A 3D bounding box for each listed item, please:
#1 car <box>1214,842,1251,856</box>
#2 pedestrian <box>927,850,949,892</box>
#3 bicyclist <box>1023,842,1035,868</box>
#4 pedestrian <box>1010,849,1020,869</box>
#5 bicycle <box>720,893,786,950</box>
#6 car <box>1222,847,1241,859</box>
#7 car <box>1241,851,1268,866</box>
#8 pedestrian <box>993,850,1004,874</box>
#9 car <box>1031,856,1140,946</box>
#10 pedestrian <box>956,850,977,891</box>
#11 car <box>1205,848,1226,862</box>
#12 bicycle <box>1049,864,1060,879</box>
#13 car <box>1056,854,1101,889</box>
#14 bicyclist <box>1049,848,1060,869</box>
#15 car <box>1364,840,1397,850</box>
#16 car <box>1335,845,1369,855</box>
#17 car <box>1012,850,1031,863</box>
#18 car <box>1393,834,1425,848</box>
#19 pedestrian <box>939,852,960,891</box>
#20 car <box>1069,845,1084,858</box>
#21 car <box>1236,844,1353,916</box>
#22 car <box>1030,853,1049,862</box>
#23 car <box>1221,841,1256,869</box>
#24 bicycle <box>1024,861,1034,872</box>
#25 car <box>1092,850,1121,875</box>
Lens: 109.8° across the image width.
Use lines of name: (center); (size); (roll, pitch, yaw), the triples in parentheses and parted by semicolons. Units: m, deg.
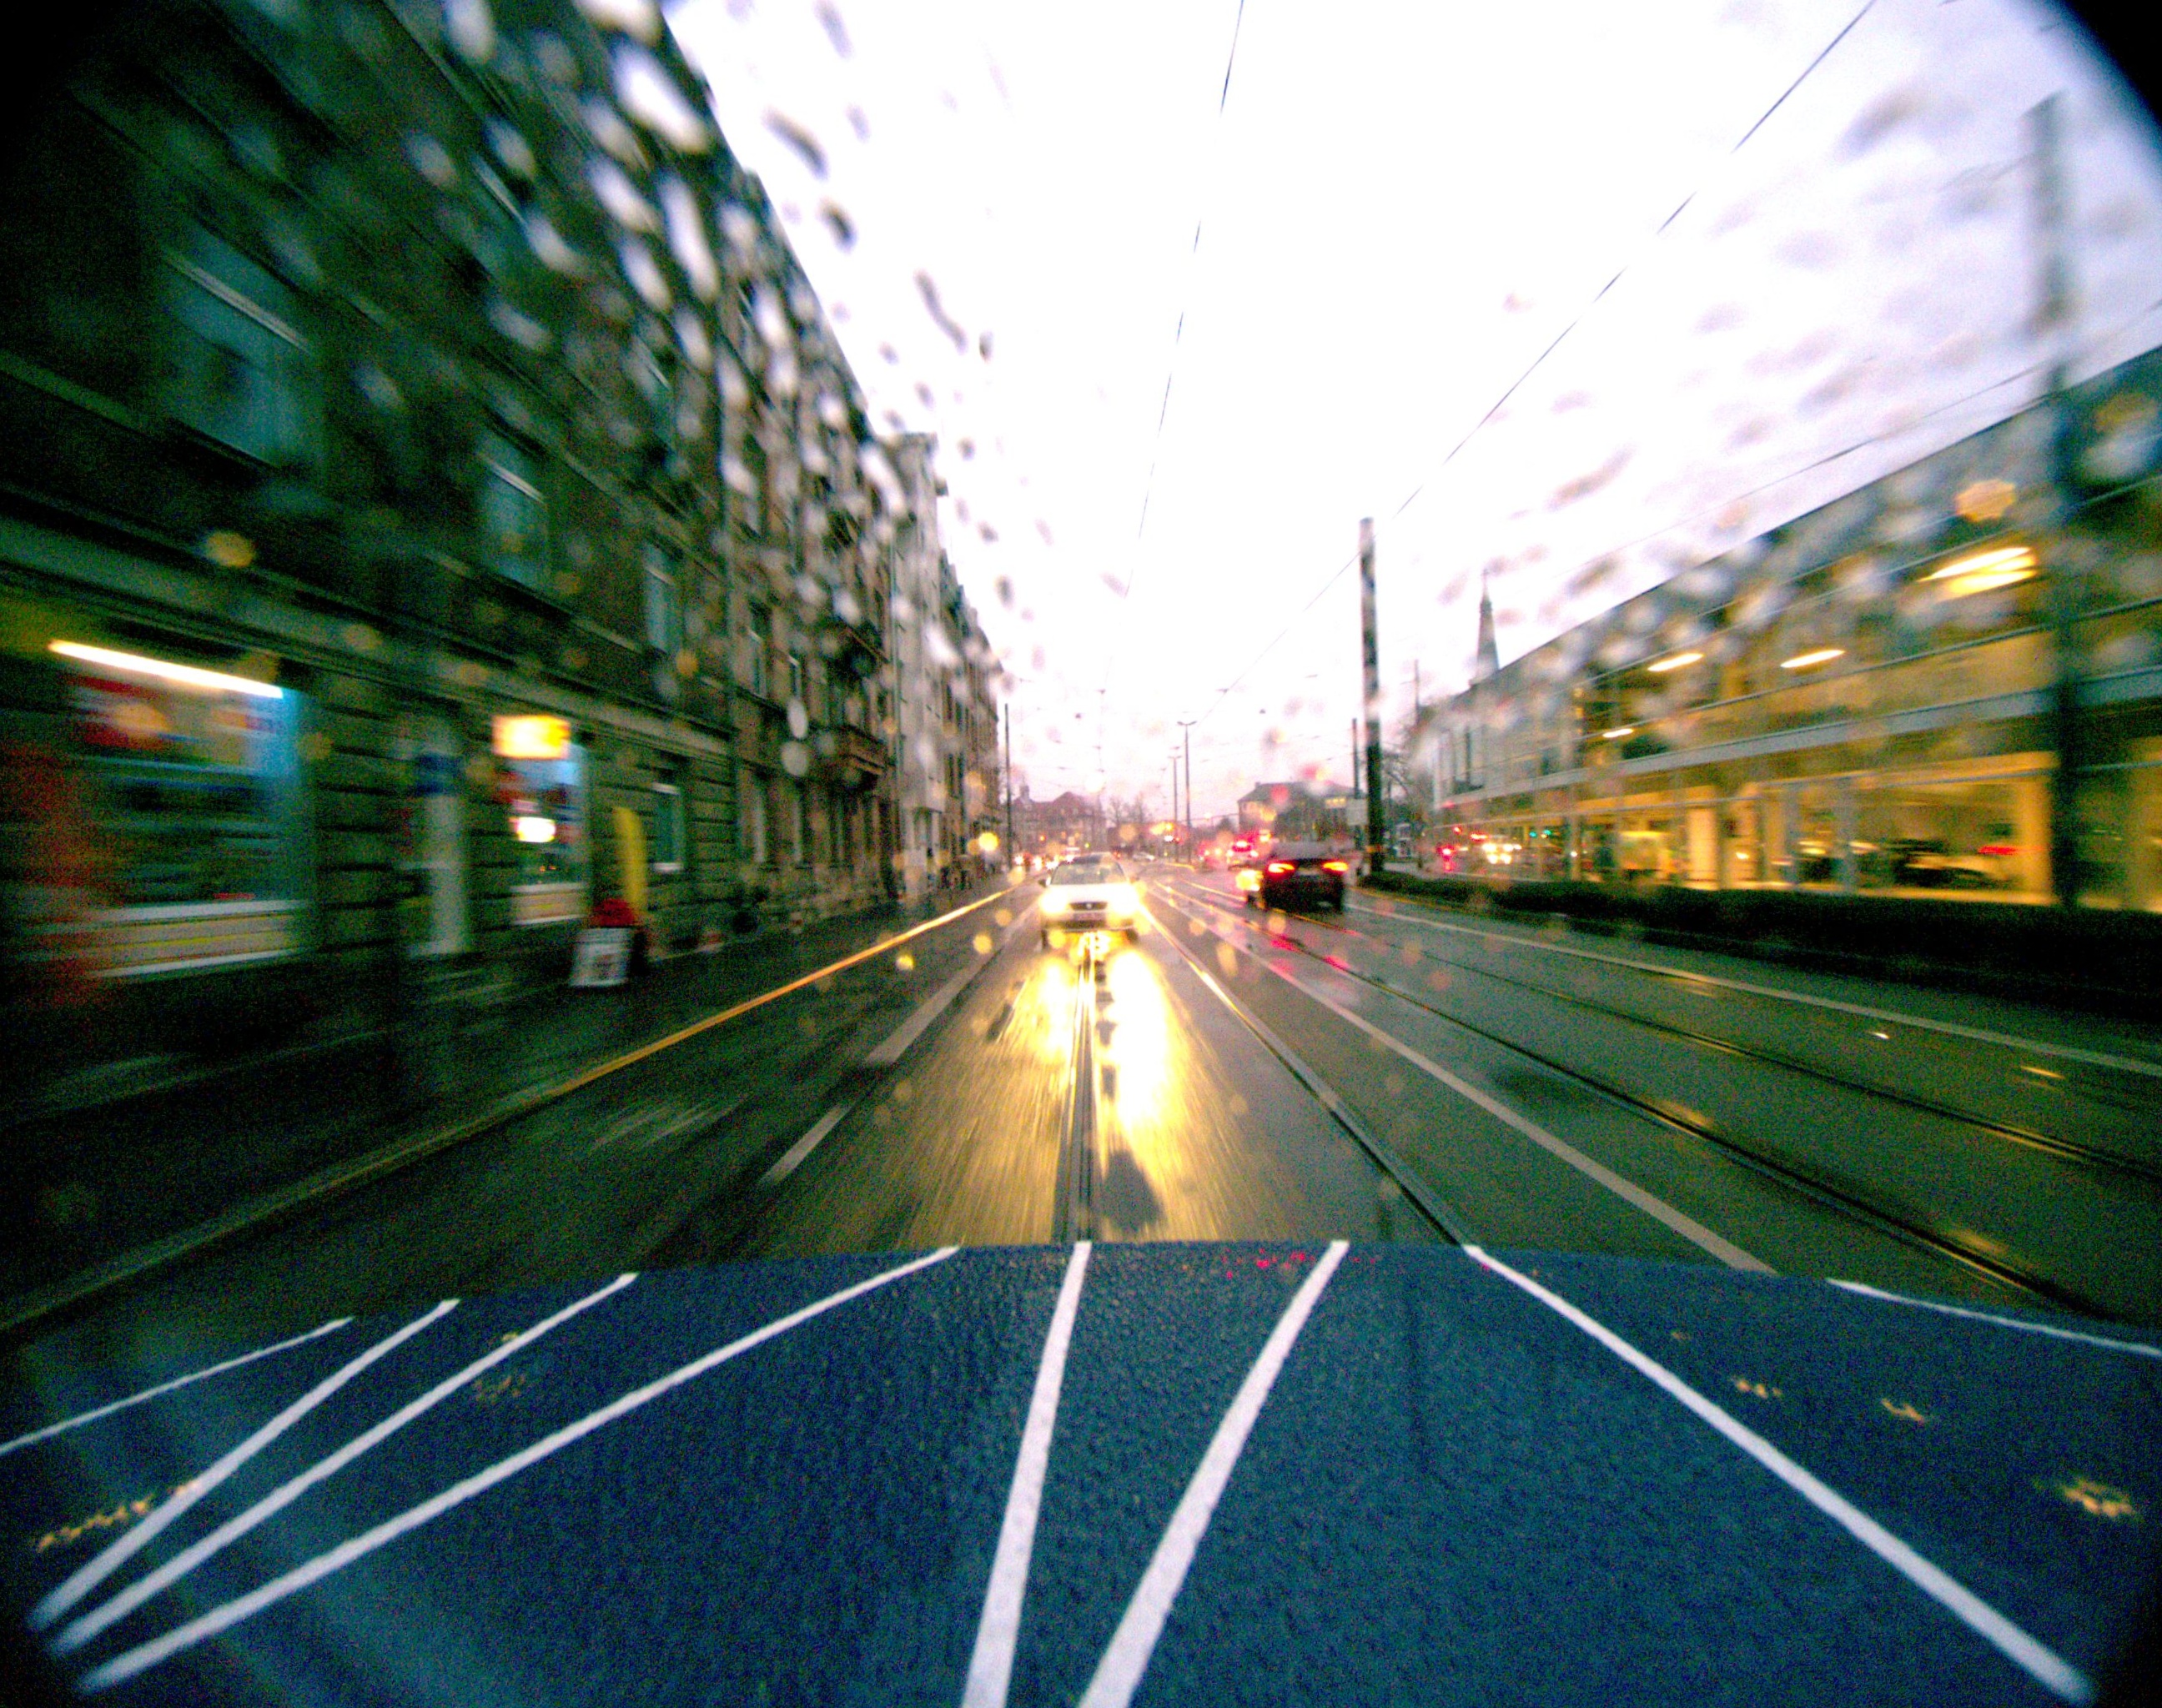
car: (23.696, -0.815, 119.283); (5.545, 2.002, 2.001); (-2, 1, 9)
pedestrian: (-6.038, 0.705, 32.154); (0.777, 1.734, 0.673); (-1, 1, 1)
bicyclist: (-3.809, 0.083, 55.911); (0.747, 1.869, 1.111); (-1, 1, -1)
pedestrian: (-5.841, 0.433, 67.499); (0.753, 1.814, 0.711); (-2, 1, 4)
bicycle: (-6.243, 1.252, 14.559); (0.398, 0.906, 1.866); (-1, 1, 1)
car: (18.330, -0.178, 92.533); (1.728, 1.350, 4.000); (-2, 1, 3)
car: (17.727, 0.418, 77.977); (1.998, 1.413, 4.588); (-2, 1, 4)
pedestrian: (-5.460, 0.517, 50.150); (0.633, 1.539, 0.710); (-2, 1, 0)
car: (0.173, 0.801, 14.826); (1.797, 1.415, 4.000); (-2, 1, 3)
pedestrian: (-4.970, 0.718, 33.054); (0.777, 1.734, 0.673); (-1, 1, 1)
car: (14.782, 0.102, 83.672); (1.876, 1.382, 4.001); (1, 1, 4)
bicycle: (-1.902, 1.248, 54.993); (0.725, 0.985, 2.212); (-2, 1, 0)
car: (-0.066, 0.756, 34.710); (1.797, 1.415, 4.000); (-2, 1, 3)
bicyclist: (-1.923, 0.308, 55.002); (0.727, 1.525, 0.785); (-2, 1, 0)
car: (44.117, -1.337, 111.932); (2.003, 1.302, 3.989); (-3, 1, -35)
car: (38.443, -0.502, 107.863); (2.003, 1.302, 3.989); (-3, 1, -35)
car: (-9.186, 0.330, 117.759); (1.997, 1.827, 4.872); (-1, 1, 6)
car: (50.610, -2.009, 117.271); (2.003, 2.002, 3.989); (-3, 1, -35)
pedestrian: (-5.847, 0.772, 33.739); (0.777, 1.734, 0.673); (-1, 1, 1)
car: (-0.593, -0.380, 106.710); (2.018, 1.809, 3.688); (-2, 1, 1)
car: (5.178, 0.549, 19.074); (1.845, 1.569, 4.442); (-1, 1, 3)
car: (-6.850, 0.589, 126.187); (1.825, 1.499, 3.809); (-1, 1, 19)
car: (11.845, 0.033, 57.383); (1.998, 2.002, 4.685); (-2, 1, 5)
bicycle: (-3.806, 0.914, 55.911); (0.609, 0.757, 1.860); (-1, 1, -1)
car: (1.678, 0.520, 51.583); (1.824, 1.565, 3.999); (-2, 1, 0)
